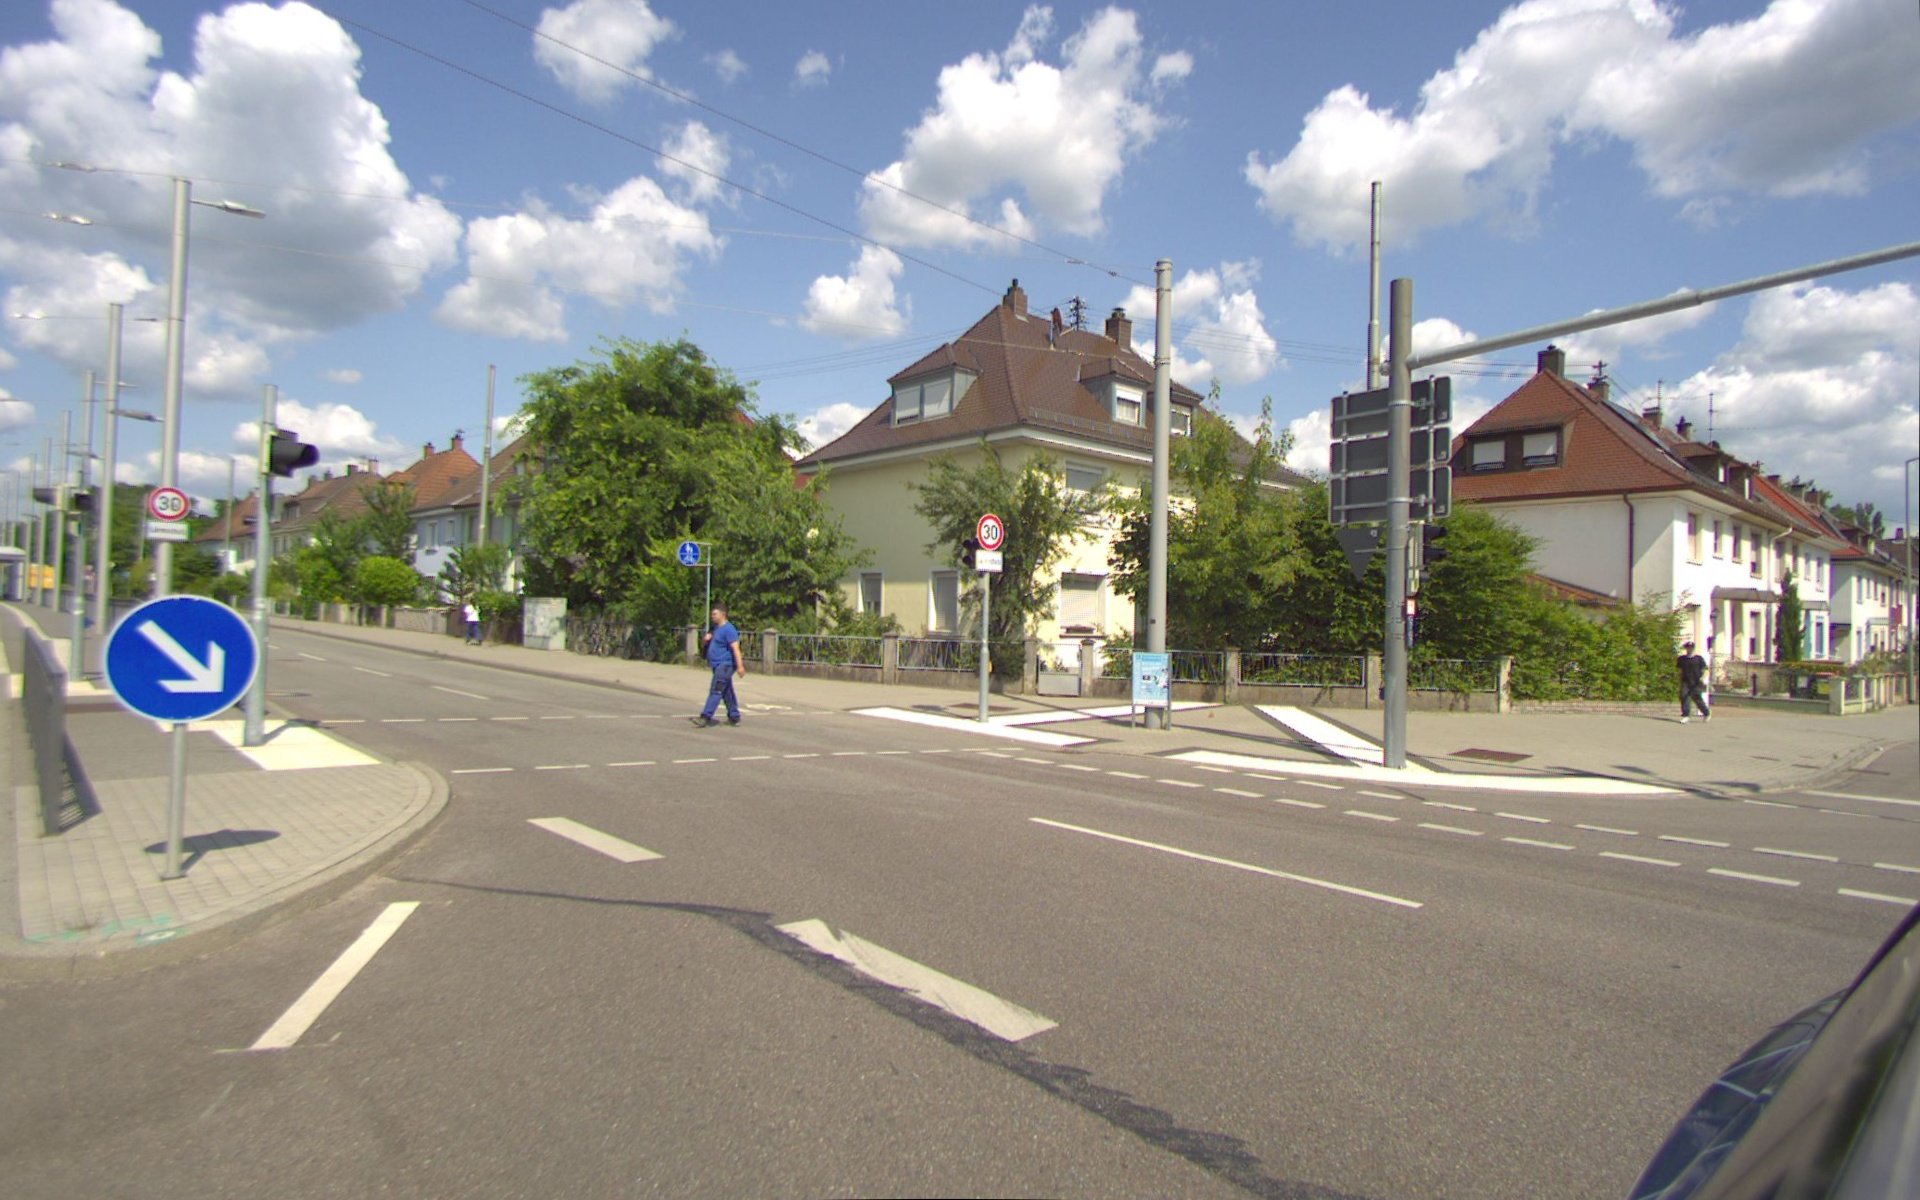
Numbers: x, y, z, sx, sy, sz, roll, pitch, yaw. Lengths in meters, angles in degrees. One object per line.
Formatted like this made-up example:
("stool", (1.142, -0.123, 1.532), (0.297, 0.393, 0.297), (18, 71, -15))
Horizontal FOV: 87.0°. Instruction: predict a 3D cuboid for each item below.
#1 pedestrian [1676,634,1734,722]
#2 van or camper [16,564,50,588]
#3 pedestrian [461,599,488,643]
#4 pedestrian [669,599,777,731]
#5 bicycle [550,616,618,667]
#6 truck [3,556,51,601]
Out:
("pedestrian", (15.848, 1.648, 21.532), (0.918, 1.790, 0.593), (4, -2, -27))
("van or camper", (-134.315, -3.442, 146.619), (7.100, 3.250, 2.959), (0, -3, 44))
("pedestrian", (-16.243, 0.698, 33.885), (0.674, 1.451, 0.515), (4, -2, -33))
("pedestrian", (-3.370, 0.908, 14.399), (1.023, 1.757, 1.030), (5, -3, -45))
("bicycle", (-11.264, 1.225, 30.260), (2.791, 1.351, 0.613), (2, -2, 42))
("truck", (-77.576, -1.752, 84.071), (7.204, 3.450, 2.154), (0, -3, 43))
